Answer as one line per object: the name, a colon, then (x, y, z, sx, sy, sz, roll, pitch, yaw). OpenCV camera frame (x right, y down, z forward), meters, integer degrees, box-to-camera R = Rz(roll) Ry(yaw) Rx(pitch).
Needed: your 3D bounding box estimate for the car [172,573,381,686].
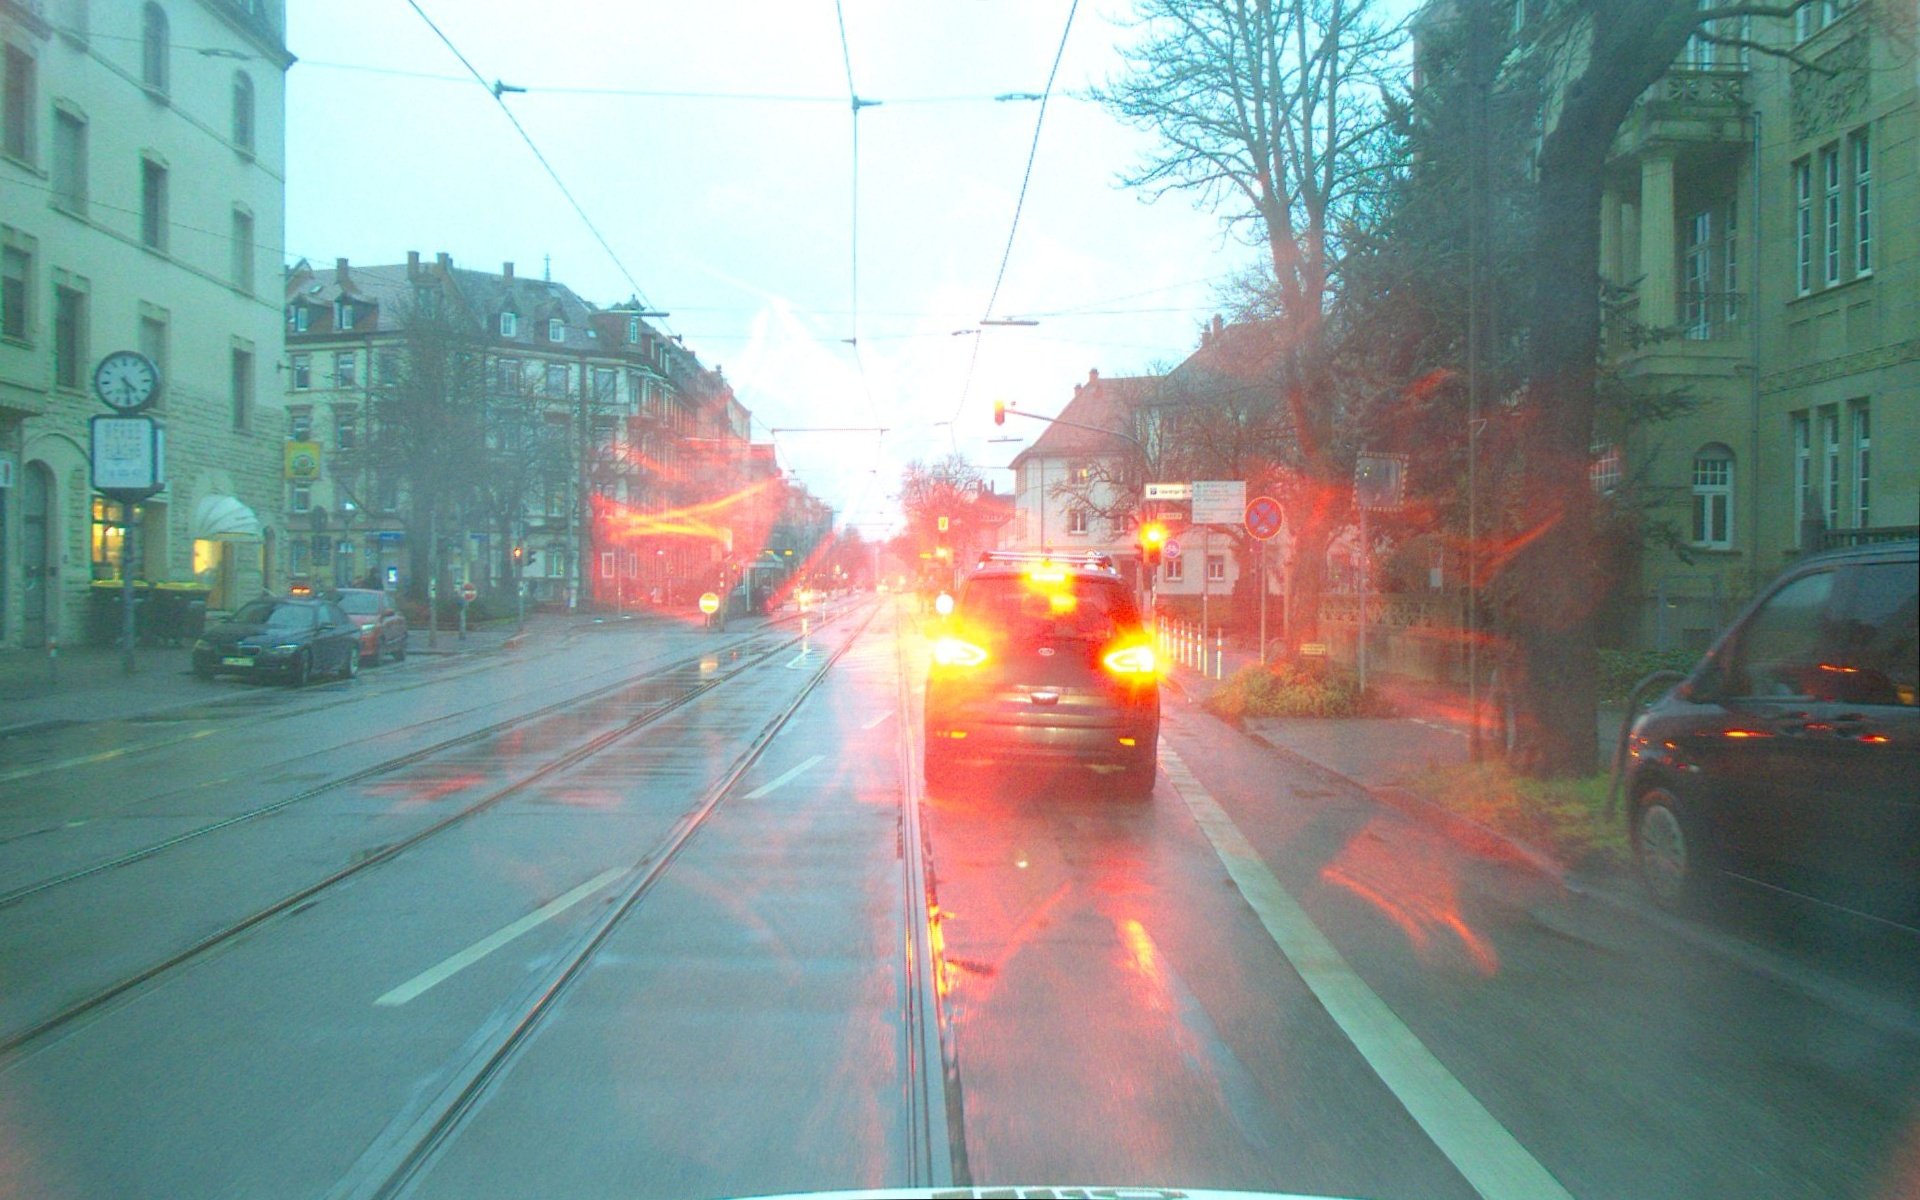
car: (-12.011, 0.490, 29.436, 1.947, 1.674, 4.627, 5, -1, -4)

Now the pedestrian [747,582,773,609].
pedestrian: (-9.108, -0.206, 75.350, 1.026, 1.221, 0.885, 1, 0, -1)

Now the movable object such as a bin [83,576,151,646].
movable object such as a bin: (-17.306, 0.214, 33.980, 0.881, 1.401, 1.006, 1, 0, -2)

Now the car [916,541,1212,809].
car: (0.754, 0.513, 14.174, 2.060, 1.848, 4.661, 2, 1, 0)

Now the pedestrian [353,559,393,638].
pedestrian: (-15.370, -0.030, 43.290, 0.742, 2.049, 0.646, 1, 0, 34)

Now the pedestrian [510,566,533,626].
pedestrian: (-15.236, -0.139, 57.417, 0.694, 2.049, 0.656, 0, 0, -21)

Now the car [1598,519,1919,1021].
car: (4.629, 0.634, 6.751, 1.990, 1.908, 4.962, 0, 1, -2)

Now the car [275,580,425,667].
car: (-12.883, 0.454, 35.190, 1.999, 1.578, 4.026, 4, 1, -7)

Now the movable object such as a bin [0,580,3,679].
movable object such as a bin: (-14.521, 0.427, 23.381, 1.242, 1.445, 1.250, 1, 0, -1)

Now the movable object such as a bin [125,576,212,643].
movable object such as a bin: (-16.866, 0.197, 35.282, 1.268, 1.391, 1.252, 1, 0, -2)
